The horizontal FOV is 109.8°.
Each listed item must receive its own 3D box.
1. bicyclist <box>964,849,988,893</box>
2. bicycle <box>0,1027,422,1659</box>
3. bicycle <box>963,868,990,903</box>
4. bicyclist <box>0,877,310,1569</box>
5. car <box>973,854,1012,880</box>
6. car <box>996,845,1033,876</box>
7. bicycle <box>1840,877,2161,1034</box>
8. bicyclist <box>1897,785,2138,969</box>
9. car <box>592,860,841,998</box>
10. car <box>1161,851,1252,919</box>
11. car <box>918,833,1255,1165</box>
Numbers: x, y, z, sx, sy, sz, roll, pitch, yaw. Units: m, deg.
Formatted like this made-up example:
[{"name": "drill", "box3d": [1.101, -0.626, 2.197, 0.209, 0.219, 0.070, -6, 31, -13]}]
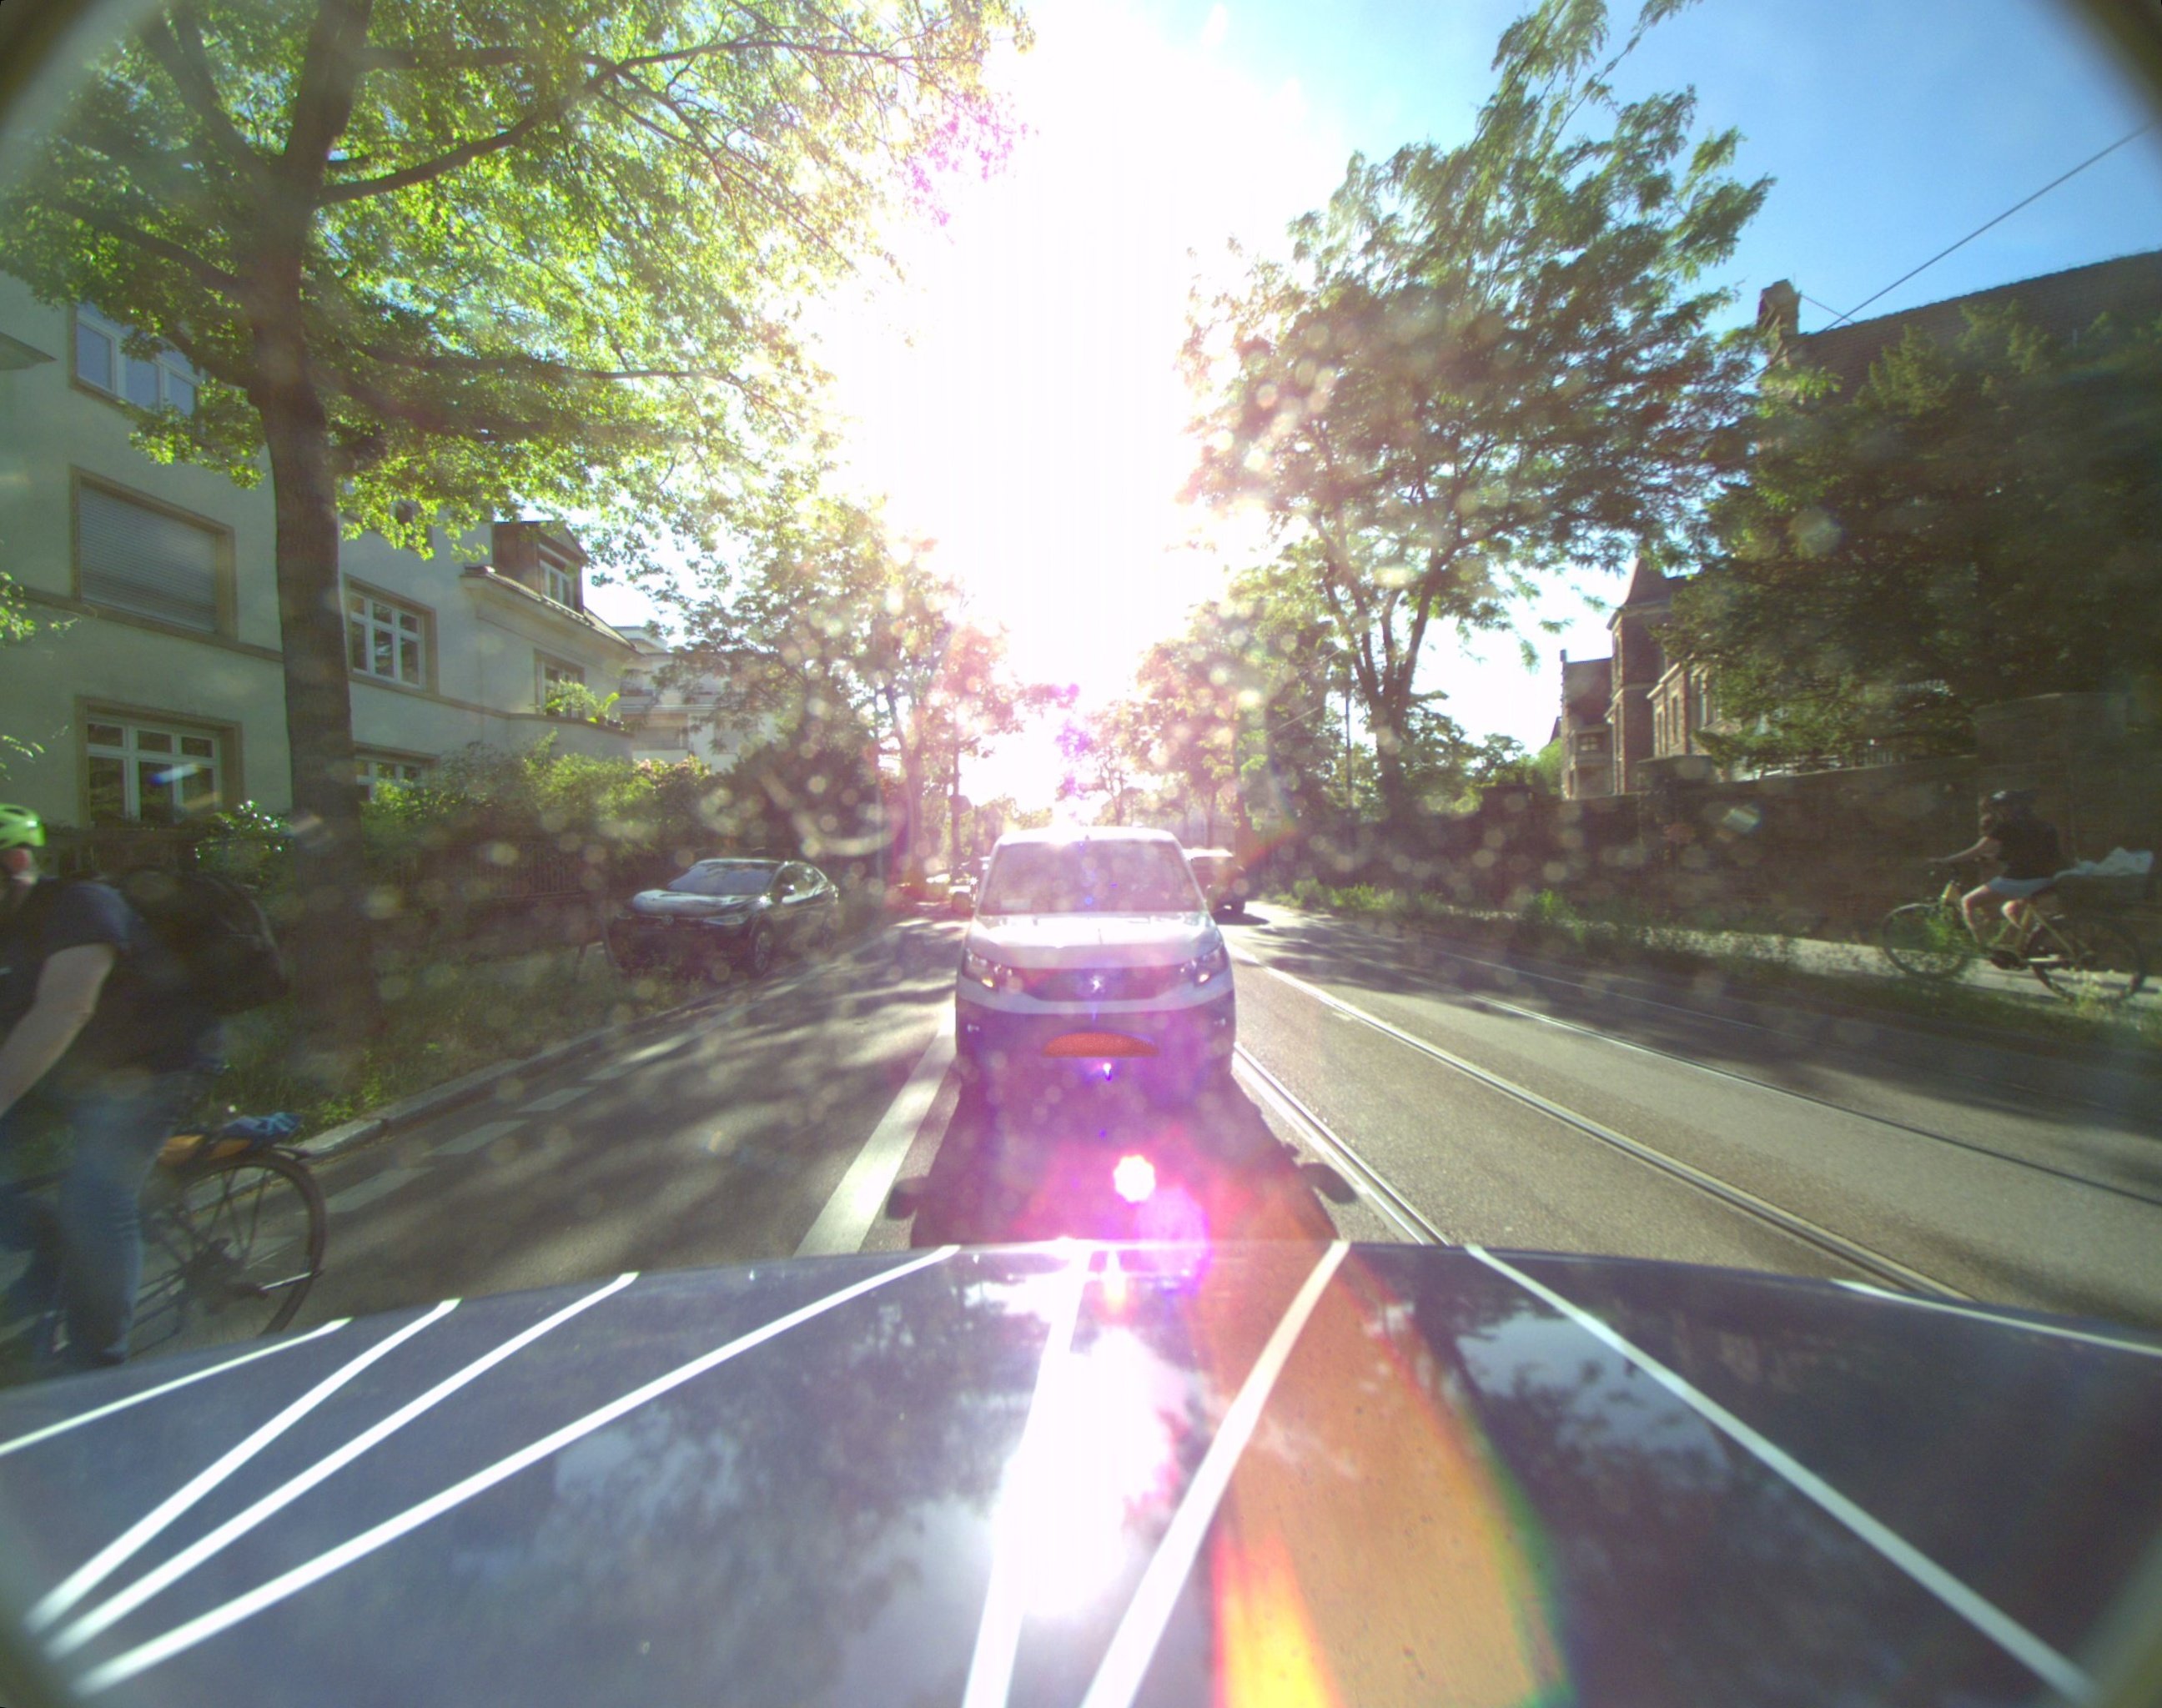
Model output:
[{"name": "bicyclist", "box3d": [-3.678, 0.586, 26.782, 0.623, 1.479, 1.114, -2, 1, 1]}, {"name": "bicycle", "box3d": [-2.680, 1.187, 1.733, 0.644, 1.137, 1.902, -1, 0, 1]}, {"name": "bicycle", "box3d": [-3.657, 1.087, 26.791, 0.644, 1.137, 1.815, -1, 0, 1]}, {"name": "bicyclist", "box3d": [-2.699, 0.828, 1.737, 0.645, 1.479, 1.115, -2, 1, 1]}, {"name": "car", "box3d": [-5.246, 0.755, 45.458, 1.787, 1.443, 4.000, -2, 0, 1]}, {"name": "car", "box3d": [-4.494, 0.434, 51.924, 1.998, 2.002, 4.583, -2, 0, 1]}, {"name": "bicycle", "box3d": [8.104, 0.788, 6.701, 0.686, 1.082, 2.063, -2, 0, -3]}, {"name": "bicyclist", "box3d": [8.099, 0.184, 6.640, 0.655, 1.451, 1.151, -2, 1, -4]}, {"name": "car", "box3d": [-5.156, 0.946, 11.445, 1.743, 1.597, 4.091, 2, 0, 0]}, {"name": "car", "box3d": [3.272, 0.740, 20.634, 1.822, 1.597, 4.359, -2, 0, 2]}, {"name": "car", "box3d": [0.049, 0.785, 6.530, 1.793, 1.770, 4.786, -2, 0, 0]}]
